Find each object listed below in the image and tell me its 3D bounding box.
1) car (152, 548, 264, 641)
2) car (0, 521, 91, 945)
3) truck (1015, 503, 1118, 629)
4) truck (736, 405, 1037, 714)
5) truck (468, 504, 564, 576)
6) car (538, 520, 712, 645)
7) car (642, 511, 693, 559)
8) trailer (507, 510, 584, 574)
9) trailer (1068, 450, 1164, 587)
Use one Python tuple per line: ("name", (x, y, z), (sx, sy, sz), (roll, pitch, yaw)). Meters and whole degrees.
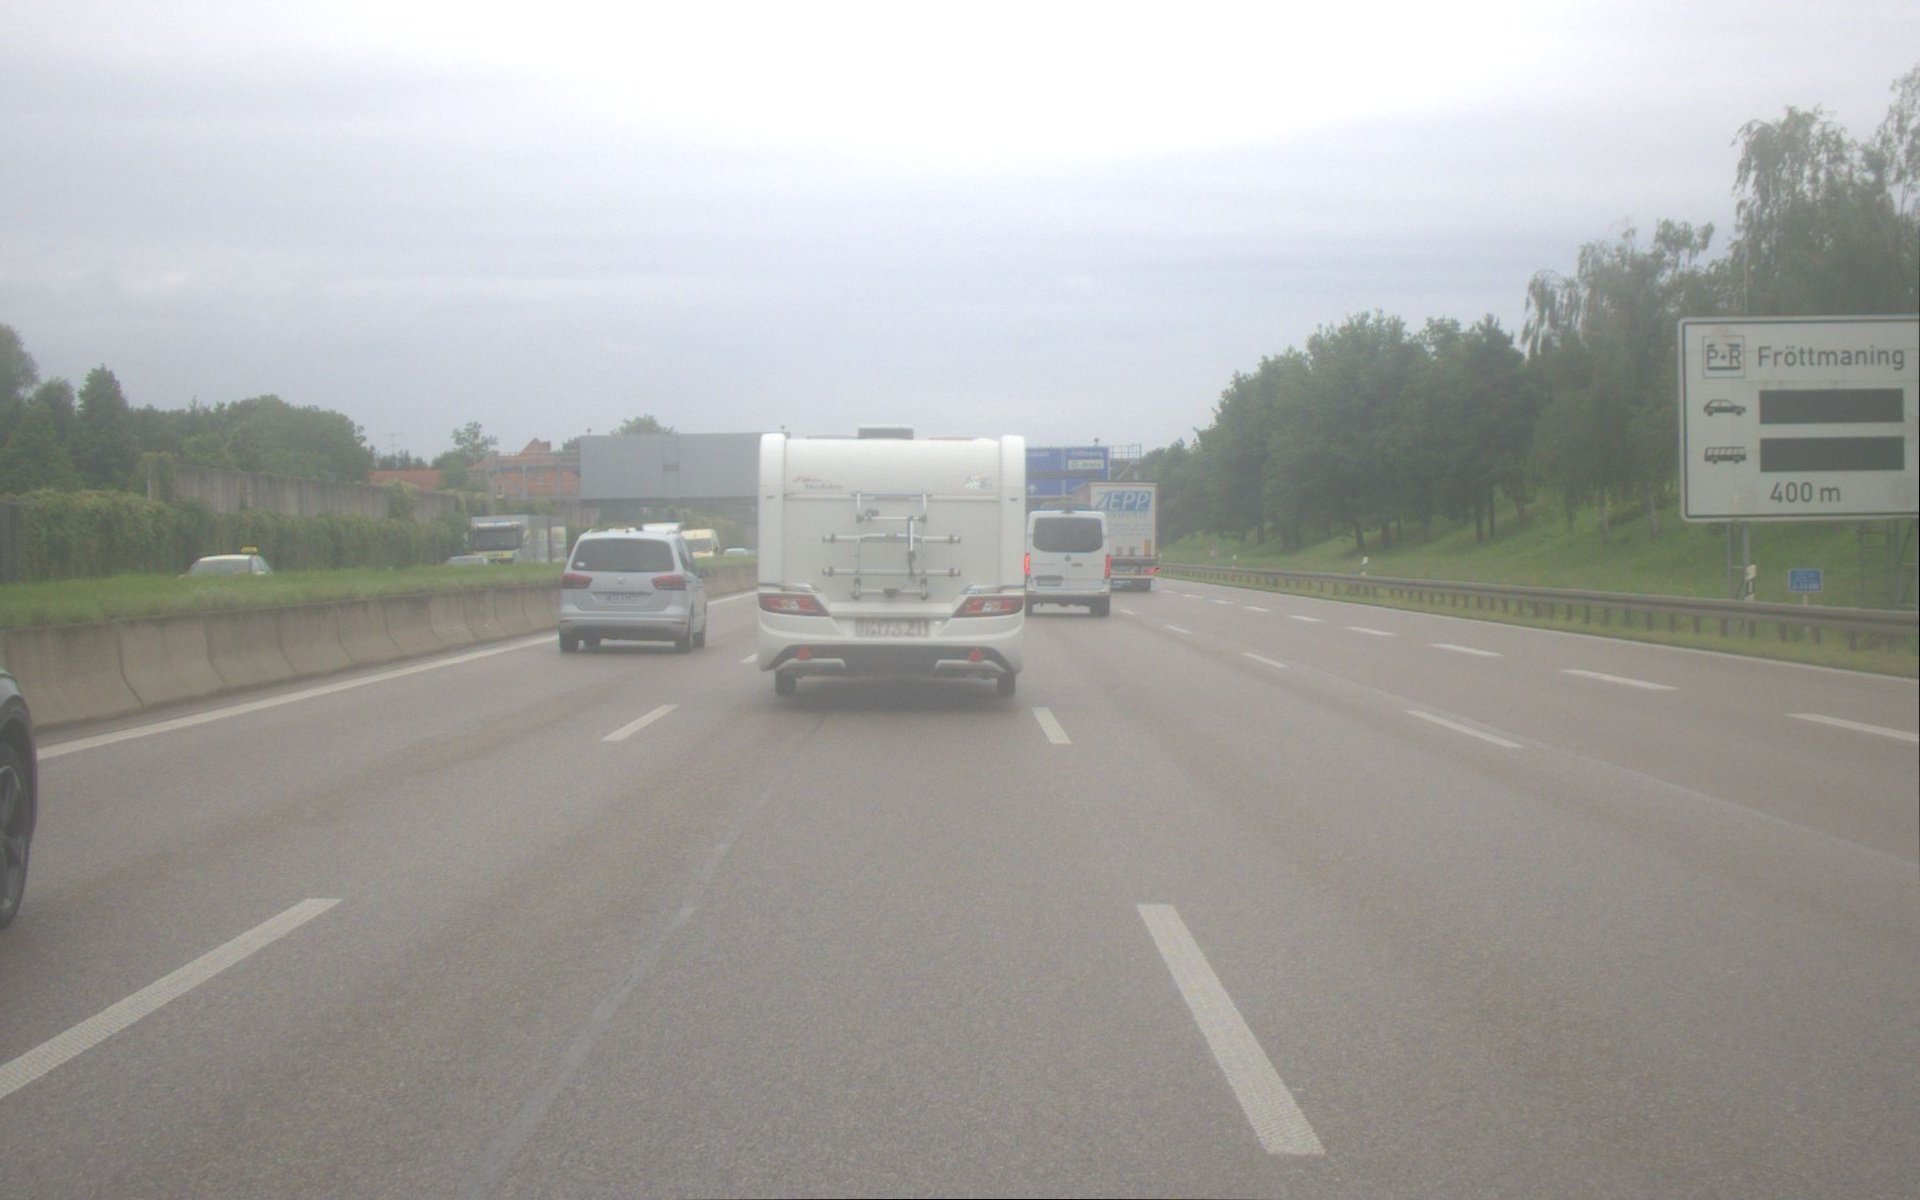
("car", (-16.621, -0.149, 76.125), (1.620, 2.007, 4.000), (0, 1, 0))
("car", (-4.571, 0.497, 11.680), (1.993, 1.594, 5.124), (1, 1, -1))
("truck", (2.409, -0.782, 78.777), (2.053, 2.760, 5.549), (1, 1, -1))
("truck", (-0.705, -0.389, 33.449), (2.661, 2.733, 5.078), (1, 1, -1))
("truck", (-20.800, -2.773, 161.646), (2.884, 3.210, 11.358), (1, 1, 0))
("car", (-4.708, -0.277, 48.882), (2.128, 1.700, 4.113), (0, 1, -1))
("car", (-17.246, -3.793, 202.959), (2.322, 2.725, 7.315), (1, 1, 0))
("trailer", (-20.608, -2.875, 171.334), (2.777, 3.066, 7.873), (1, 1, 0))
("trailer", (5.842, -3.012, 130.412), (3.100, 4.905, 11.790), (1, 1, 0))
